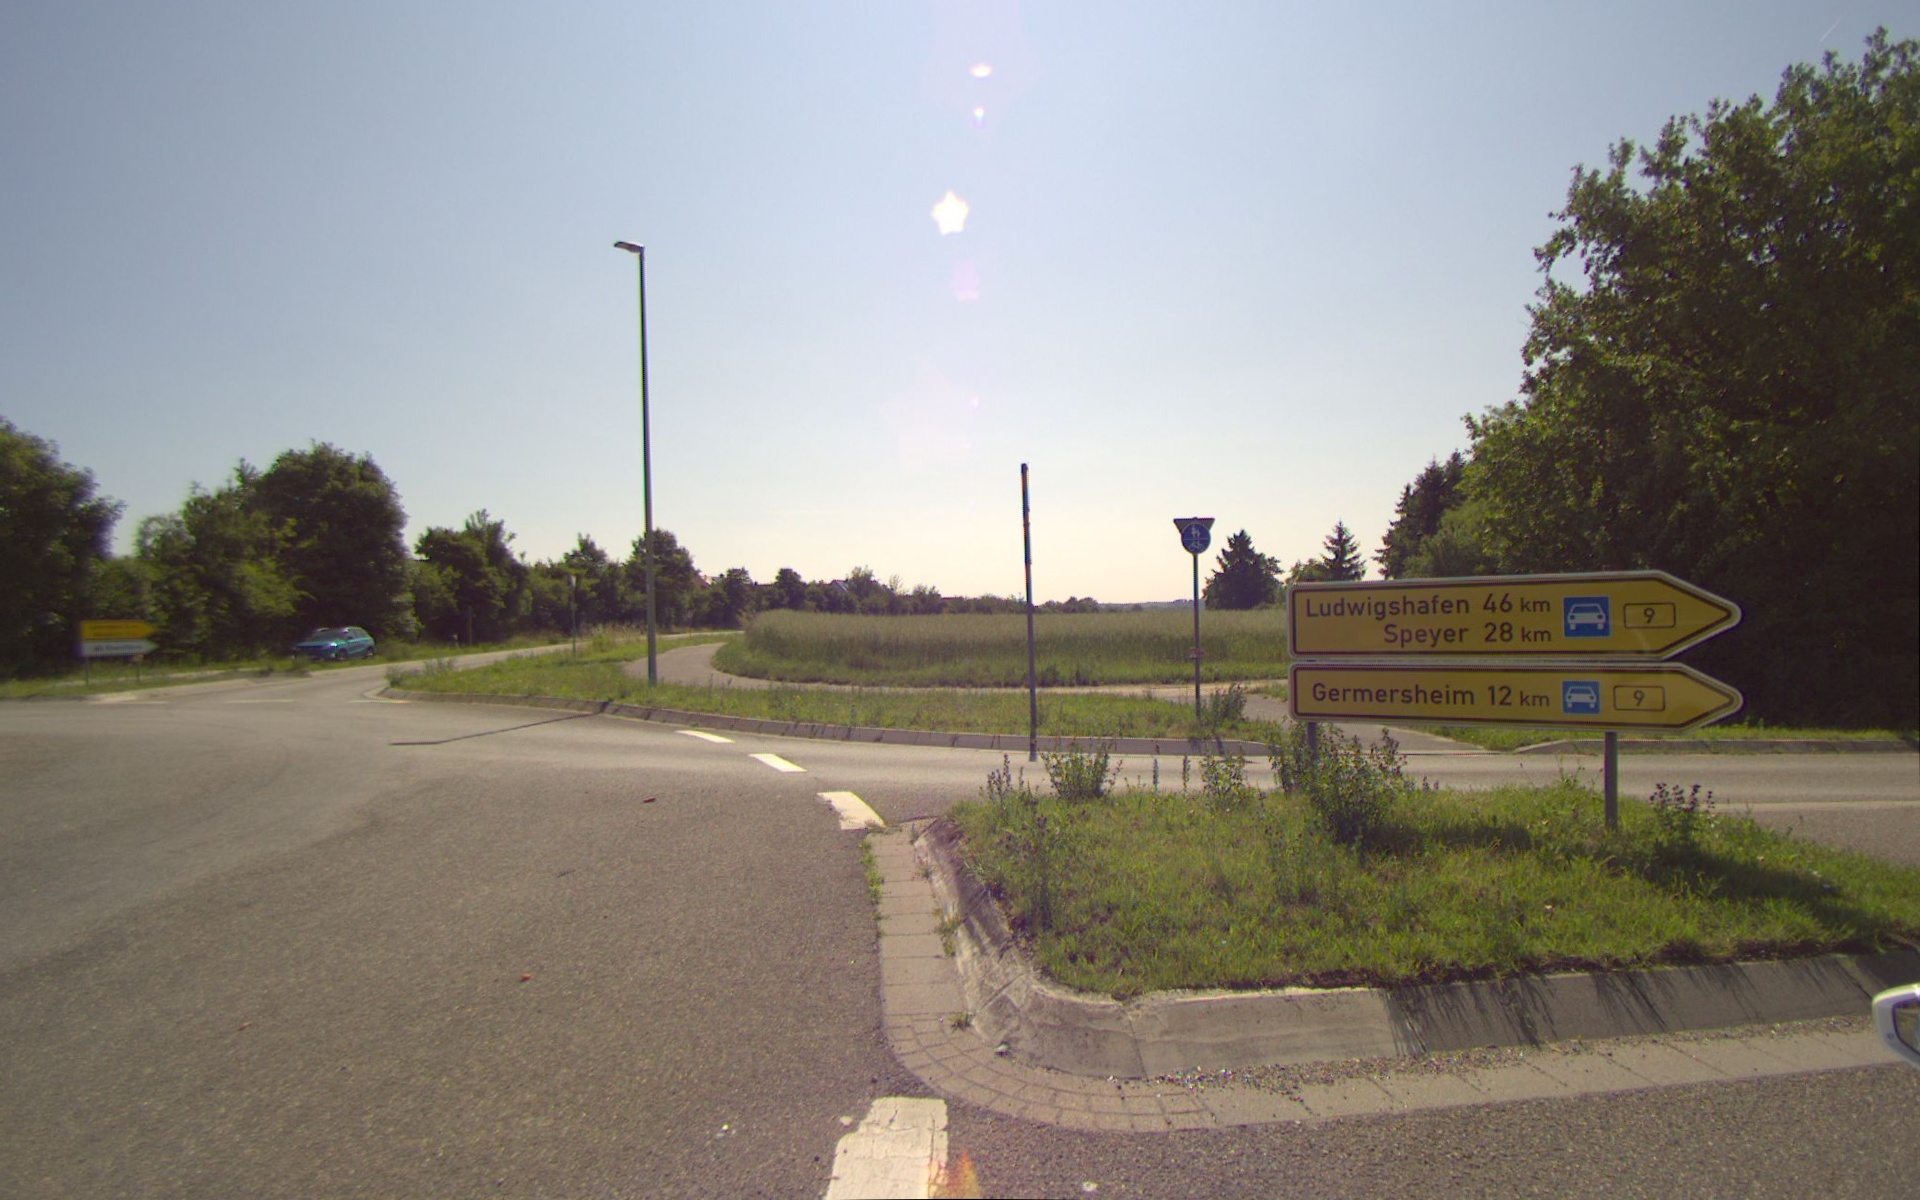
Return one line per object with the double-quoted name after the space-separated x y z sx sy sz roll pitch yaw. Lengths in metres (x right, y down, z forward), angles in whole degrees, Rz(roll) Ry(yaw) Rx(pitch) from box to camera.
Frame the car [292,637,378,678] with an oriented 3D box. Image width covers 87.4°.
-26.681 2.426 43.017 1.619 1.597 3.995 -1 -1 -8 "car"
